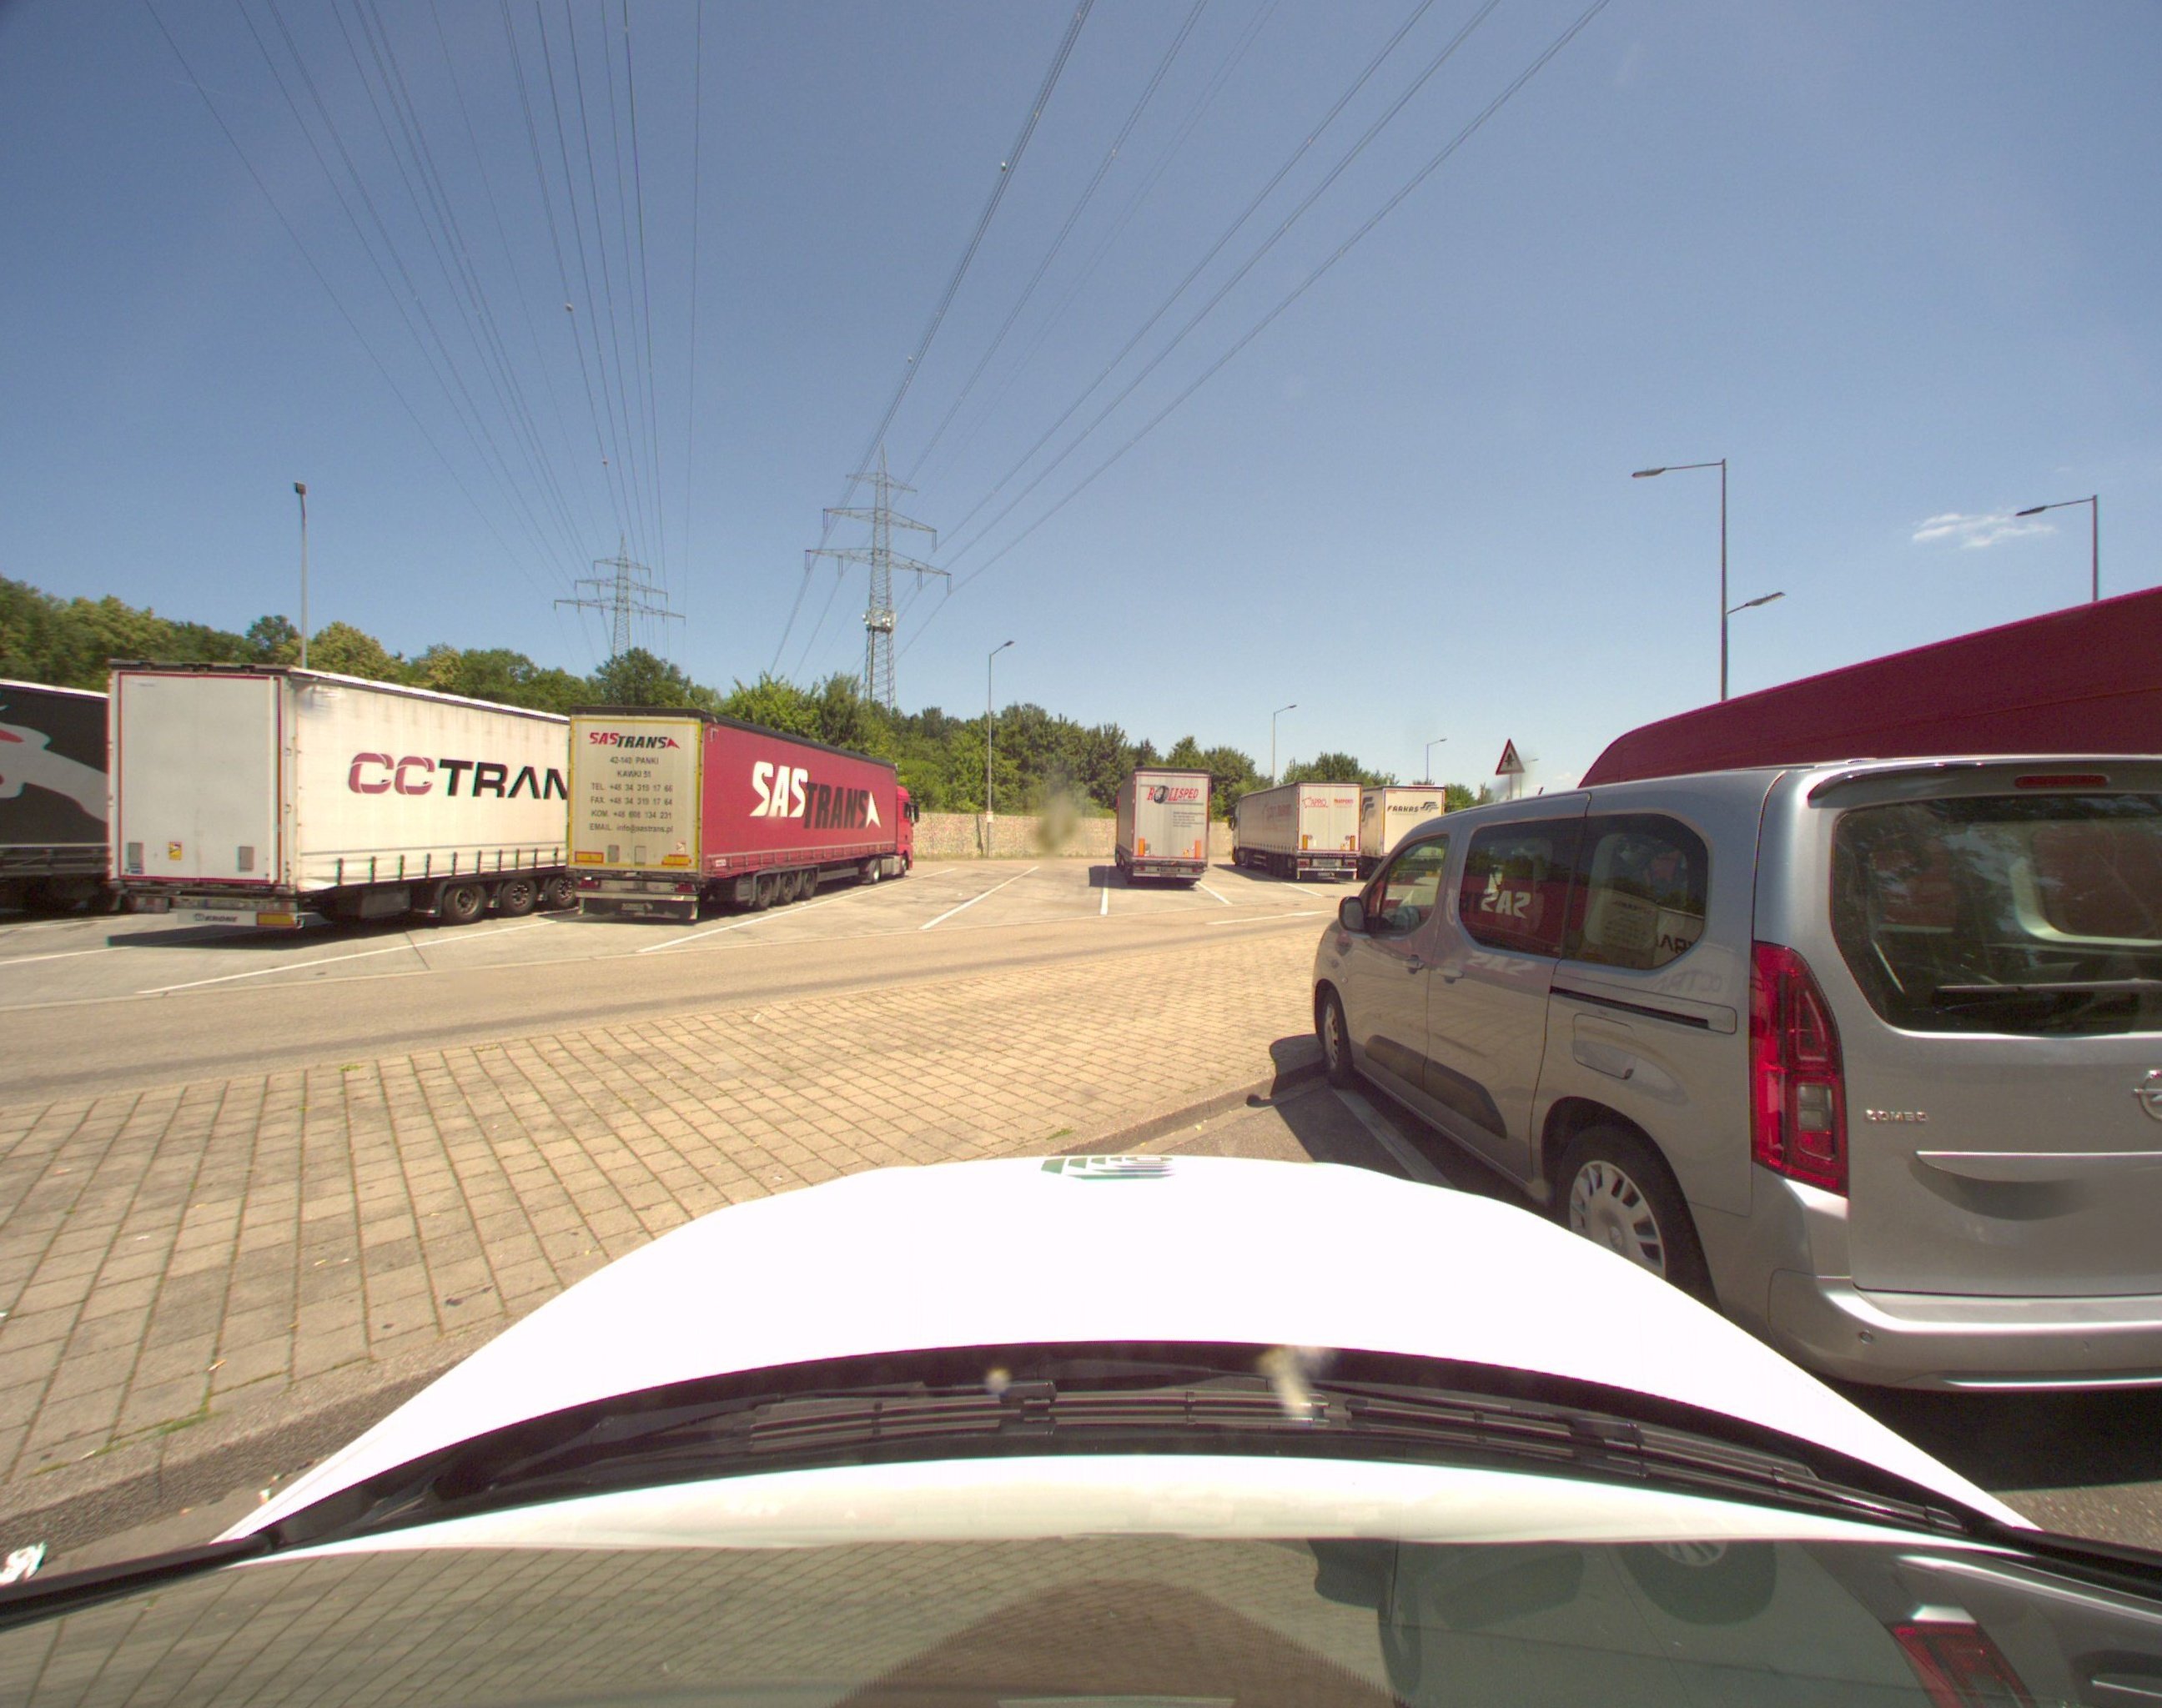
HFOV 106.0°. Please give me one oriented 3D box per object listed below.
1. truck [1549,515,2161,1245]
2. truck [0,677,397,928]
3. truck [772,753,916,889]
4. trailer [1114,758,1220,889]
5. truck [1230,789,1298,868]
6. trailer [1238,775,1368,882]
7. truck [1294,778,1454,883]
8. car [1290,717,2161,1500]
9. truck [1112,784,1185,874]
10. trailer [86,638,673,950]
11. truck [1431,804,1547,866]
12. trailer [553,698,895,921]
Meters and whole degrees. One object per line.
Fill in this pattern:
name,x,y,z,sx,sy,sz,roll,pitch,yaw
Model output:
truck,5.090,0.054,4.881,1.983,2.623,5.312,-1,1,6
truck,-18.521,-0.854,15.972,2.627,4.018,8.640,-1,1,2
truck,-7.850,-1.049,28.022,2.733,4.081,6.832,-1,1,1
trailer,3.034,-1.185,32.747,3.059,4.227,12.811,1,2,1
truck,10.116,-1.390,45.421,2.747,4.124,5.286,-1,1,2
trailer,9.929,-1.100,38.418,2.865,4.124,13.577,0,1,2
truck,13.563,-1.054,39.662,2.894,4.124,14.533,2,1,2
car,2.461,0.533,3.859,1.821,1.753,3.998,-1,1,-2
truck,3.116,-1.218,39.519,3.016,3.928,6.848,1,2,1
trailer,-12.109,-0.893,16.079,2.734,4.263,9.740,0,1,3
truck,24.450,-1.125,49.445,3.013,3.437,8.534,-1,1,2
trailer,-8.056,-0.916,21.539,2.739,4.057,13.292,-1,1,2
